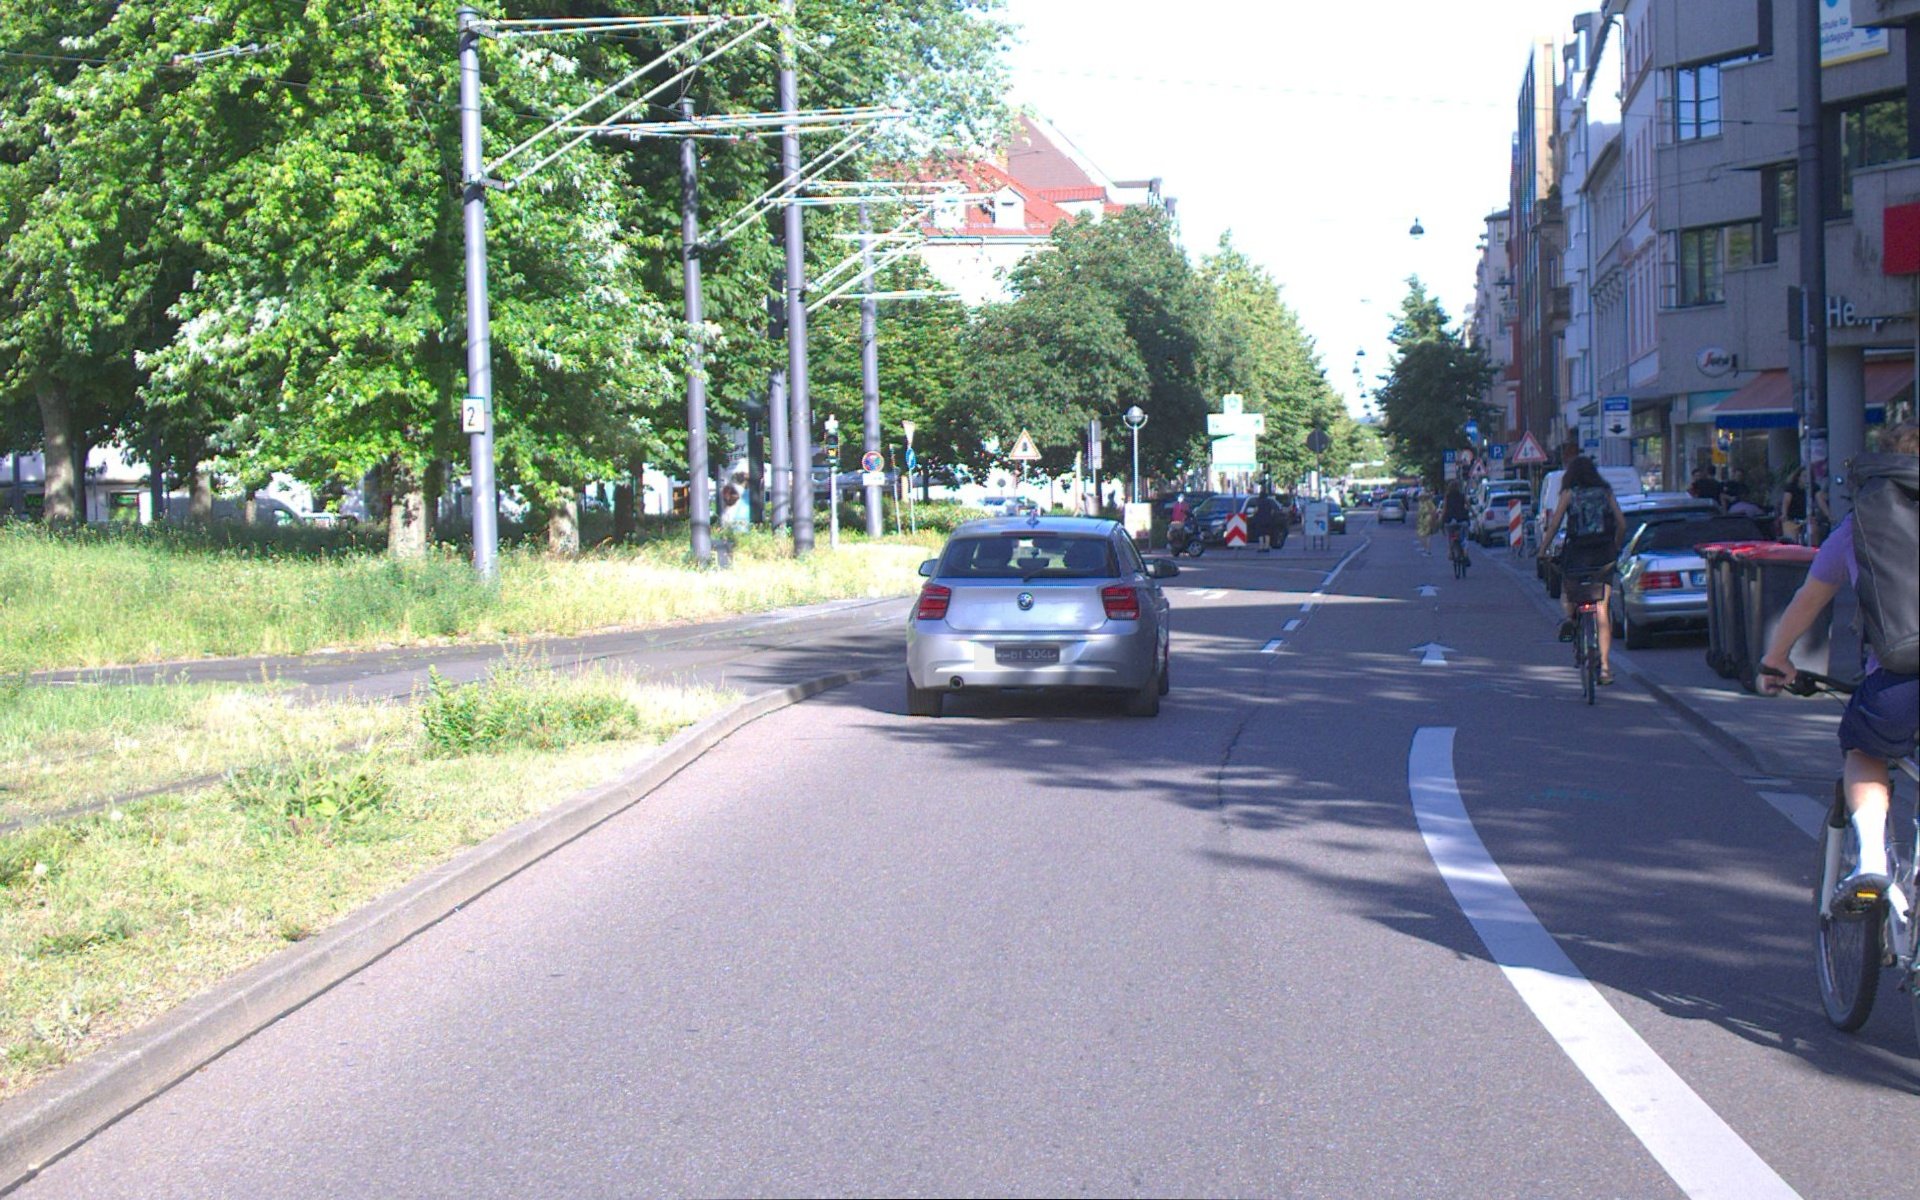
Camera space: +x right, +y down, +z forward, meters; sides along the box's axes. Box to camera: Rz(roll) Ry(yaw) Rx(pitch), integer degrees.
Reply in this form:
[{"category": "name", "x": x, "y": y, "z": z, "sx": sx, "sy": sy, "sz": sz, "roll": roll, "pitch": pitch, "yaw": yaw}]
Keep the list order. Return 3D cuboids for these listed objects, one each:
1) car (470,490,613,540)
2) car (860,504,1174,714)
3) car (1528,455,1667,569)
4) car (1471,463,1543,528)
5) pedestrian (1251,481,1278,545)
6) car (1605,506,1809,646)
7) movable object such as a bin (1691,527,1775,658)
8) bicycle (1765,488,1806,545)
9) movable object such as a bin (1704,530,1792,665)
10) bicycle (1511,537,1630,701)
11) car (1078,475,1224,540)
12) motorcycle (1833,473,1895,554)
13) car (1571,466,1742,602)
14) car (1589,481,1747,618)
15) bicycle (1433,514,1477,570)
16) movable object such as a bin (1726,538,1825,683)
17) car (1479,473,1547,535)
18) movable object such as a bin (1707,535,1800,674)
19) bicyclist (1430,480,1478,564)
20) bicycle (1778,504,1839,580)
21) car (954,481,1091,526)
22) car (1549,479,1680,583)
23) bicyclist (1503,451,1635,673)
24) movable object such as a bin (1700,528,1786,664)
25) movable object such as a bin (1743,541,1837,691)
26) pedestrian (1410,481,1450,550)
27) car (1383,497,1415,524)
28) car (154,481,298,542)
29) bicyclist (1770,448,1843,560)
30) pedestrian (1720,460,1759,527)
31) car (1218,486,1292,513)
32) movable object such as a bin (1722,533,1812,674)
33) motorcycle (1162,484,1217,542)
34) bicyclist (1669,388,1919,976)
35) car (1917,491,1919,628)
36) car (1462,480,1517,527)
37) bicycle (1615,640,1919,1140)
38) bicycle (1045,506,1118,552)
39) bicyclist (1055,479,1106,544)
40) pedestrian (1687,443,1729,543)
[{"category": "car", "x": -17.195, "y": -3.497, "z": 141.318, "sx": 5.574, "sy": 2.007, "sz": 1.818, "roll": 0, "pitch": 1, "yaw": -19}, {"category": "car", "x": 0.515, "y": 0.026, "z": 25.469, "sx": 1.994, "sy": 1.418, "sz": 4.196, "roll": 0, "pitch": 1, "yaw": 6}, {"category": "car", "x": 10.539, "y": -1.442, "z": 57.079, "sx": 1.994, "sy": 1.806, "sz": 4.308, "roll": 0, "pitch": 1, "yaw": 7}, {"category": "car", "x": 17.548, "y": -3.356, "z": 110.463, "sx": 1.994, "sy": 1.998, "sz": 5.117, "roll": -1, "pitch": 2, "yaw": 6}, {"category": "pedestrian", "x": 7.875, "y": -2.244, "z": 88.909, "sx": 0.636, "sy": 1.666, "sz": 0.692, "roll": 0, "pitch": 1, "yaw": 8}, {"category": "car", "x": 7.644, "y": -0.267, "z": 35.530, "sx": 1.852, "sy": 1.339, "sz": 4.598, "roll": 0, "pitch": 1, "yaw": 10}, {"category": "movable object such as a bin", "x": 6.456, "y": -0.070, "z": 28.718, "sx": 0.592, "sy": 1.080, "sz": 0.604, "roll": 0, "pitch": 1, "yaw": 4}, {"category": "bicycle", "x": 15.137, "y": -1.520, "z": 63.076, "sx": 0.563, "sy": 1.031, "sz": 1.644, "roll": 0, "pitch": 1, "yaw": 8}, {"category": "movable object such as a bin", "x": 6.316, "y": -0.023, "z": 27.566, "sx": 0.605, "sy": 1.065, "sz": 0.545, "roll": 0, "pitch": 1, "yaw": 4}, {"category": "bicycle", "x": 4.570, "y": 0.124, "z": 25.844, "sx": 0.820, "sy": 1.181, "sz": 1.964, "roll": 0, "pitch": 1, "yaw": 8}, {"category": "car", "x": 5.318, "y": -2.574, "z": 95.933, "sx": 3.857, "sy": 1.676, "sz": 1.812, "roll": -1, "pitch": 1, "yaw": -3}, {"category": "motorcycle", "x": 13.669, "y": -1.291, "z": 51.937, "sx": 0.764, "sy": 1.151, "sz": 2.046, "roll": -3, "pitch": 0, "yaw": 17}, {"category": "car", "x": 8.953, "y": -0.847, "z": 44.447, "sx": 1.852, "sy": 1.683, "sz": 3.866, "roll": 0, "pitch": 1, "yaw": 7}, {"category": "car", "x": 8.271, "y": -0.594, "z": 40.394, "sx": 1.672, "sy": 1.513, "sz": 4.198, "roll": 0, "pitch": 1, "yaw": 10}, {"category": "bicycle", "x": 8.649, "y": -1.017, "z": 60.145, "sx": 0.652, "sy": 0.955, "sz": 2.697, "roll": 0, "pitch": 1, "yaw": 6}, {"category": "movable object such as a bin", "x": 6.100, "y": 0.074, "z": 25.734, "sx": 0.619, "sy": 1.065, "sz": 0.610, "roll": 0, "pitch": 1, "yaw": 4}, {"category": "car", "x": 16.085, "y": -2.787, "z": 100.143, "sx": 1.746, "sy": 1.733, "sz": 4.959, "roll": 0, "pitch": 1, "yaw": 7}, {"category": "movable object such as a bin", "x": 6.204, "y": 0.030, "z": 26.894, "sx": 0.606, "sy": 1.065, "sz": 0.613, "roll": 0, "pitch": 1, "yaw": 4}, {"category": "bicyclist", "x": 8.656, "y": -1.368, "z": 60.245, "sx": 0.786, "sy": 1.448, "sz": 1.095, "roll": 0, "pitch": 1, "yaw": 6}, {"category": "bicycle", "x": 10.160, "y": -0.691, "z": 41.213, "sx": 0.534, "sy": 0.888, "sz": 2.069, "roll": 0, "pitch": 1, "yaw": 9}, {"category": "car", "x": 2.581, "y": -3.982, "z": 142.169, "sx": 5.262, "sy": 1.793, "sz": 2.164, "roll": 0, "pitch": 1, "yaw": -19}, {"category": "car", "x": 9.599, "y": -1.001, "z": 50.640, "sx": 1.775, "sy": 1.449, "sz": 4.729, "roll": 0, "pitch": 1, "yaw": 9}, {"category": "bicyclist", "x": 4.559, "y": -0.291, "z": 25.782, "sx": 0.939, "sy": 1.627, "sz": 0.935, "roll": 0, "pitch": 1, "yaw": 9}, {"category": "movable object such as a bin", "x": 6.402, "y": -0.037, "z": 28.127, "sx": 0.610, "sy": 1.101, "sz": 0.526, "roll": 0, "pitch": 1, "yaw": 4}, {"category": "movable object such as a bin", "x": 6.046, "y": 0.111, "z": 25.052, "sx": 0.573, "sy": 1.078, "sz": 0.570, "roll": 0, "pitch": 1, "yaw": 4}, {"category": "pedestrian", "x": 11.732, "y": -2.102, "z": 85.805, "sx": 0.667, "sy": 1.693, "sz": 0.805, "roll": 0, "pitch": 1, "yaw": -24}, {"category": "car", "x": 26.625, "y": -5.435, "z": 208.586, "sx": 1.871, "sy": 1.550, "sz": 3.999, "roll": 0, "pitch": 1, "yaw": 8}, {"category": "car", "x": -28.313, "y": -3.394, "z": 132.621, "sx": 5.334, "sy": 2.306, "sz": 2.001, "roll": 0, "pitch": 1, "yaw": -15}, {"category": "bicyclist", "x": 10.152, "y": -1.144, "z": 41.232, "sx": 0.758, "sy": 1.322, "sz": 0.994, "roll": 0, "pitch": 1, "yaw": 9}, {"category": "pedestrian", "x": 14.762, "y": -2.009, "z": 65.101, "sx": 0.630, "sy": 1.232, "sz": 0.624, "roll": -3, "pitch": 0, "yaw": 11}, {"category": "car", "x": 16.487, "y": -5.602, "z": 191.867, "sx": 3.988, "sy": 1.503, "sz": 1.894, "roll": 0, "pitch": 1, "yaw": 8}, {"category": "movable object such as a bin", "x": 6.169, "y": 0.021, "z": 26.306, "sx": 0.591, "sy": 1.065, "sz": 0.496, "roll": 0, "pitch": 1, "yaw": 4}, {"category": "motorcycle", "x": 5.472, "y": -2.070, "z": 81.957, "sx": 0.745, "sy": 1.369, "sz": 1.761, "roll": 0, "pitch": 1, "yaw": -16}, {"category": "bicyclist", "x": 2.549, "y": 0.201, "z": 9.167, "sx": 1.037, "sy": 1.479, "sz": 0.988, "roll": 0, "pitch": 1, "yaw": -5}, {"category": "car", "x": 5.544, "y": 0.225, "z": 15.072, "sx": 1.766, "sy": 1.433, "sz": 4.583, "roll": -2, "pitch": 2, "yaw": 5}, {"category": "car", "x": 18.461, "y": -3.352, "z": 119.914, "sx": 1.719, "sy": 1.510, "sz": 3.582, "roll": -3, "pitch": 0, "yaw": 7}, {"category": "bicycle", "x": 2.528, "y": 0.708, "z": 9.352, "sx": 0.885, "sy": 1.132, "sz": 2.229, "roll": 0, "pitch": 1, "yaw": -5}, {"category": "bicycle", "x": 2.834, "y": -1.658, "z": 80.291, "sx": 0.809, "sy": 1.065, "sz": 2.584, "roll": 0, "pitch": 1, "yaw": -20}, {"category": "bicyclist", "x": 2.813, "y": -2.059, "z": 80.326, "sx": 0.928, "sy": 1.502, "sz": 0.826, "roll": 0, "pitch": 1, "yaw": -20}, {"category": "pedestrian", "x": 14.175, "y": -2.026, "z": 65.161, "sx": 0.671, "sy": 1.850, "sz": 0.610, "roll": -3, "pitch": 0, "yaw": 11}]
